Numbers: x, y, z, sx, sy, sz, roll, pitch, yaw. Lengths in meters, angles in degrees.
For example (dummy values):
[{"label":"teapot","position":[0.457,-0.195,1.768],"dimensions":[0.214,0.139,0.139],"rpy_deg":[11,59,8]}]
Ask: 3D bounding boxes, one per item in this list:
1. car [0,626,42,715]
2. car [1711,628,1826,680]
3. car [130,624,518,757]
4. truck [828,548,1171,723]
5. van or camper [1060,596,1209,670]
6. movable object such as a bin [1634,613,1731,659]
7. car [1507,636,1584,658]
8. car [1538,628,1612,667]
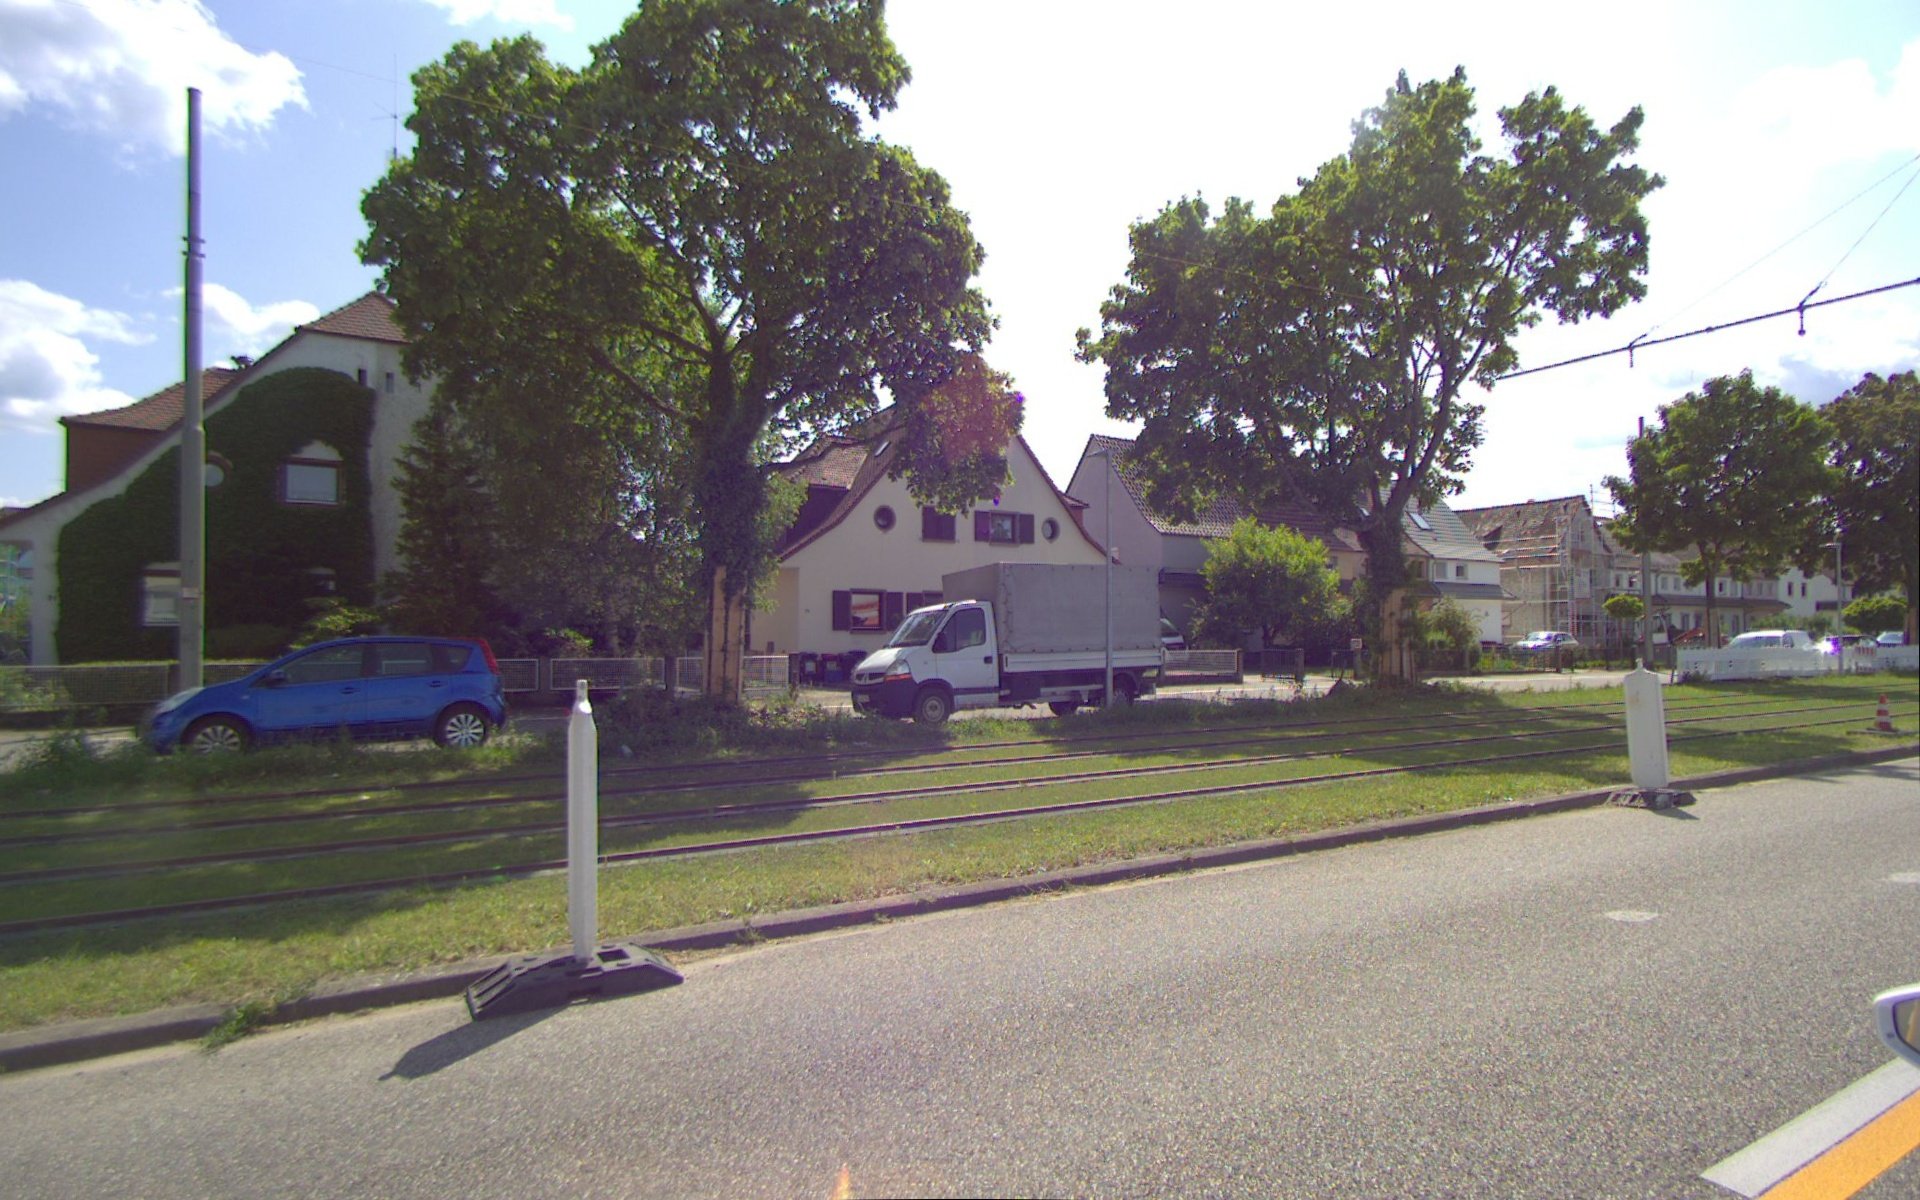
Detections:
[{"label":"car","position":[-19.730,1.368,19.640],"dimensions":[1.852,1.706,3.630],"rpy_deg":[2,-3,-31]},{"label":"car","position":[29.106,1.943,36.149],"dimensions":[3.954,1.772,1.984],"rpy_deg":[2,-3,-31]},{"label":"car","position":[-8.062,1.103,13.084],"dimensions":[3.957,1.472,1.983],"rpy_deg":[2,-3,-33]},{"label":"truck","position":[0.843,0.681,18.541],"dimensions":[6.204,2.803,1.984],"rpy_deg":[1,-5,-31]},{"label":"van or camper","position":[7.242,1.324,42.436],"dimensions":[2.673,2.675,6.054],"rpy_deg":[2,1,-34]},{"label":"movable object such as a bin","position":[40.190,2.019,55.938],"dimensions":[4.282,2.481,1.782],"rpy_deg":[-2,-2,38]},{"label":"car","position":[29.469,2.393,50.533],"dimensions":[3.936,1.066,1.676],"rpy_deg":[2,-3,-32]},{"label":"car","position":[28.278,2.185,46.171],"dimensions":[2.995,1.744,1.676],"rpy_deg":[2,-3,-31]}]
